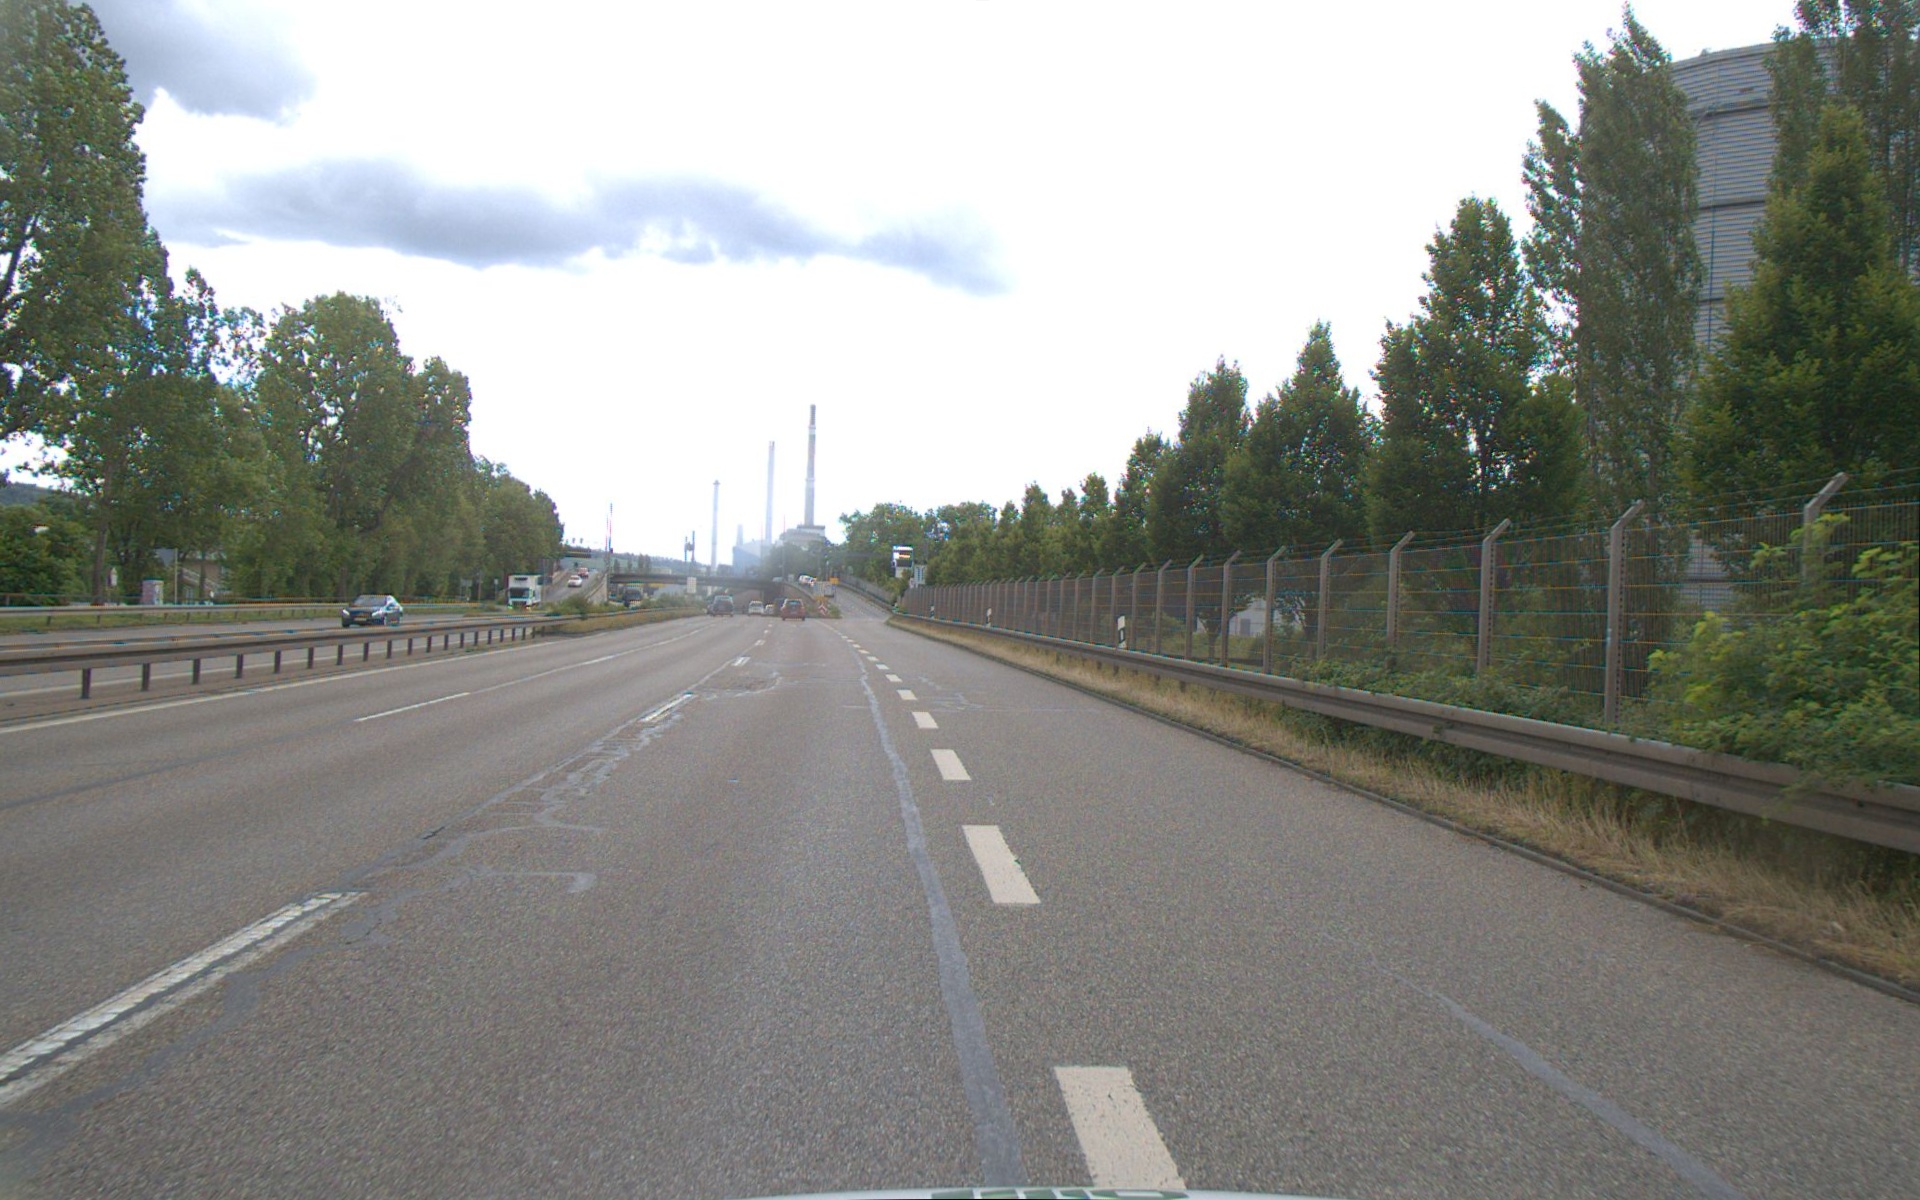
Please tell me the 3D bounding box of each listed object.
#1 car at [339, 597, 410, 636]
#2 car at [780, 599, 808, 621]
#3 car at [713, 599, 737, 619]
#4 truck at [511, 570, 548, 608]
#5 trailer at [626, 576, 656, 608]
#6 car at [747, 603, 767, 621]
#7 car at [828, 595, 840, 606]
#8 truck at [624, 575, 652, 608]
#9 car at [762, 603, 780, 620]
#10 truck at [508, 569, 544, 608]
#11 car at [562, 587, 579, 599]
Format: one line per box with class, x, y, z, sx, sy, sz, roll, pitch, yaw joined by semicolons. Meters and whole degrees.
car;-25.515;0.677;72.216;1.956;1.637;4.642;0;0;-7
car;-12.096;0.713;120.795;1.955;1.445;3.995;3;0;-6
car;-21.569;0.841;151.832;1.955;1.713;3.994;3;0;-6
truck;-44.587;-1.127;171.479;2.928;3.707;6.323;3;-1;-10
trailer;-49.039;-1.154;254.963;3.398;4.755;14.758;2;-1;-7
car;-21.084;1.207;171.812;1.955;1.713;3.994;3;0;-6
car;-18.943;0.069;248.771;1.715;1.608;4.081;0;0;-4
truck;-48.064;-1.223;247.062;3.398;4.755;6.201;2;-1;-7
car;-23.988;1.472;210.268;1.884;2.049;3.990;3;0;-11
truck;-43.945;-1.155;167.553;2.930;3.706;3.991;3;-1;-10
car;-55.761;-0.978;236.910;1.957;1.673;4.594;3;-1;-9
